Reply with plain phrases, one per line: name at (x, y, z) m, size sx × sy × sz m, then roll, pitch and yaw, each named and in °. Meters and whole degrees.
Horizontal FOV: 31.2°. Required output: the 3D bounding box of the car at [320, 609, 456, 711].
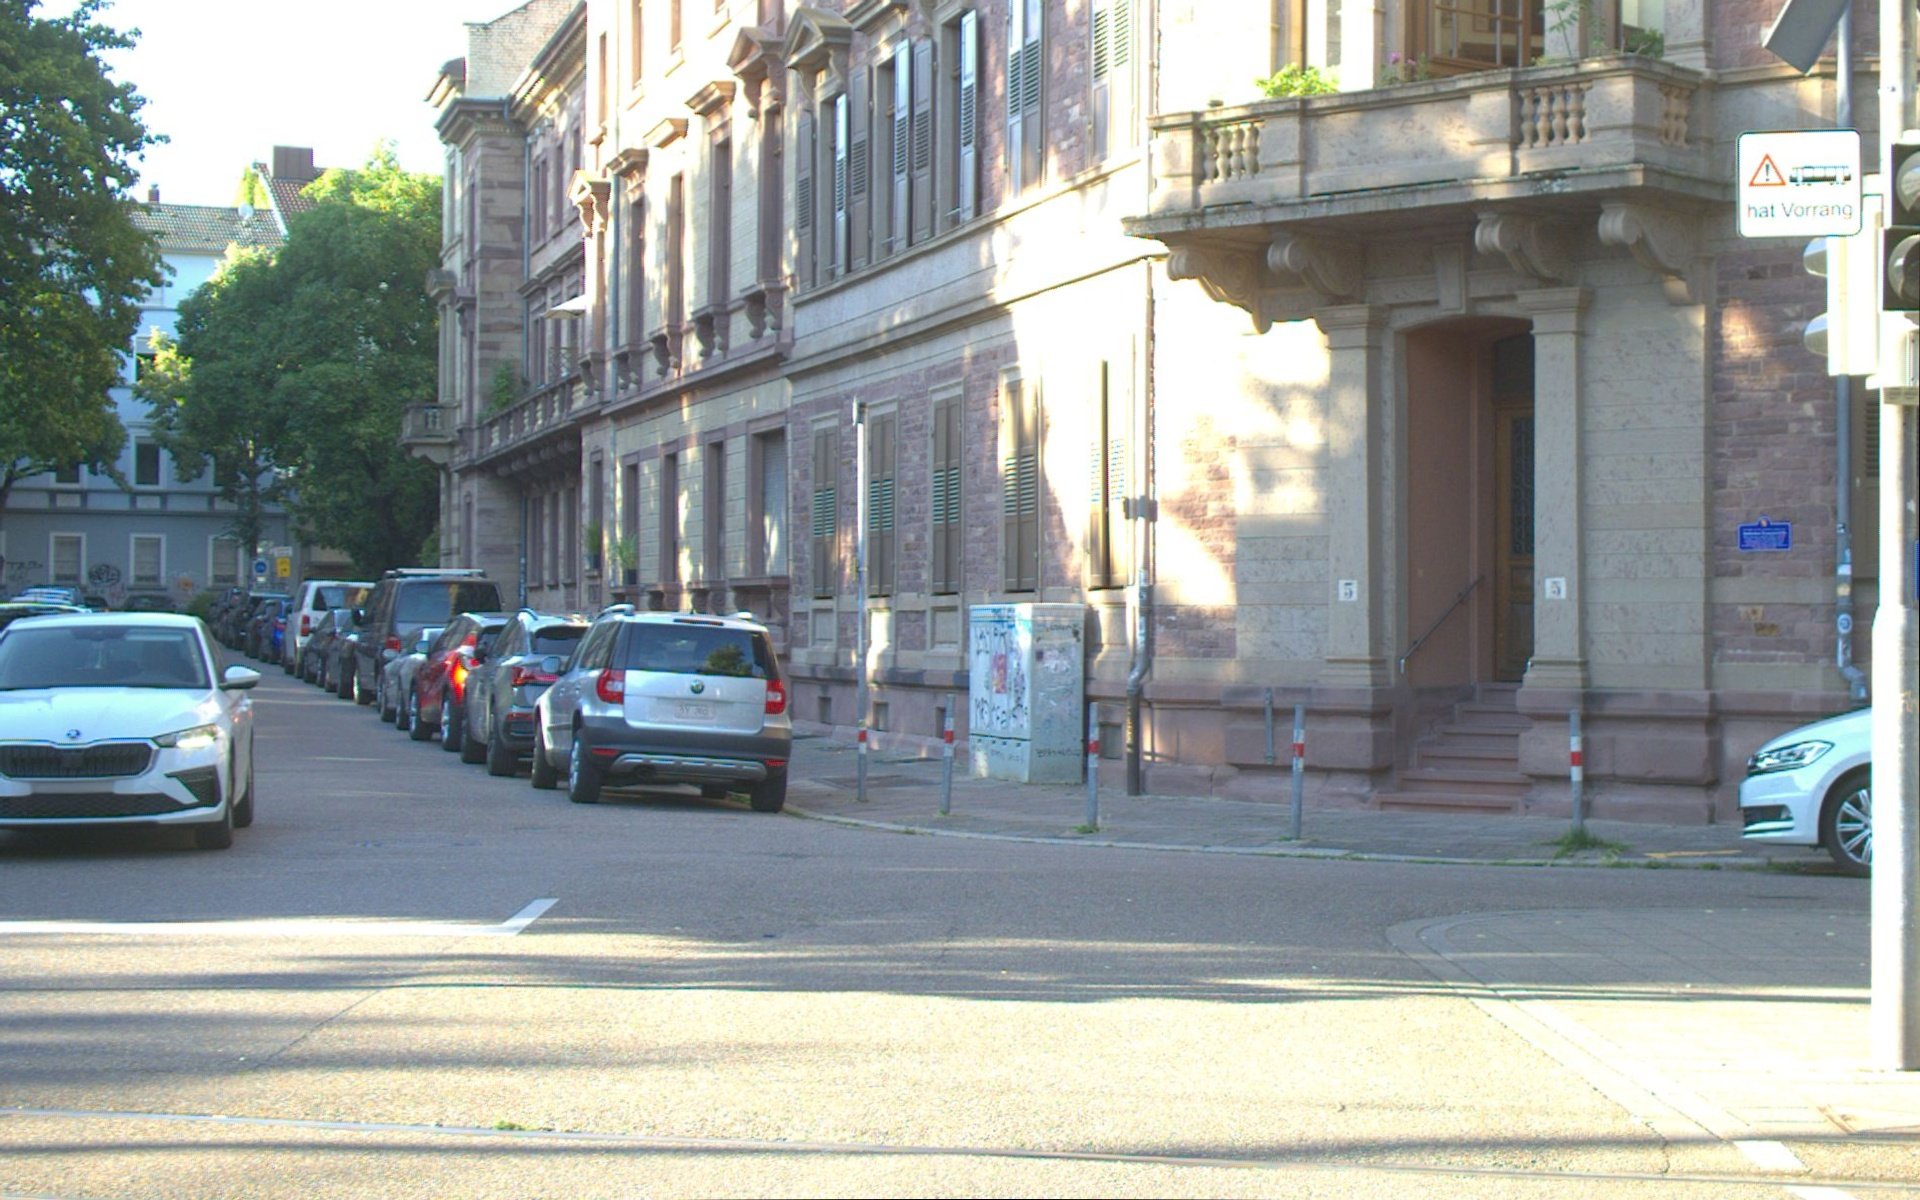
car at (-9.366, 0.957, 56.079) m, size 1.797 × 1.518 × 3.956 m, roll 3°, pitch -1°, yaw -14°

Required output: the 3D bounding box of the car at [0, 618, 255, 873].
car at (-5.472, 0.858, 21.952) m, size 1.701 × 1.452 × 4.063 m, roll 1°, pitch 0°, yaw -9°

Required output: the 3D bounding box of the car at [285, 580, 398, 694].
car at (-12.108, 0.705, 67.127) m, size 1.797 × 2.065 × 3.956 m, roll 3°, pitch -1°, yaw -14°

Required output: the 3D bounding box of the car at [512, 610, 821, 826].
car at (-2.641, 0.988, 30.039) m, size 1.915 × 1.651 × 4.188 m, roll 4°, pitch -2°, yaw -15°

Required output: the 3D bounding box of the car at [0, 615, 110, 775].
car at (-10.442, 0.993, 38.185) m, size 1.825 × 1.609 × 4.292 m, roll 4°, pitch -1°, yaw -14°

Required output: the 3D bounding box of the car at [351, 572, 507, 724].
car at (-7.878, 0.690, 50.748) m, size 1.797 × 2.065 × 3.956 m, roll 3°, pitch -1°, yaw -14°

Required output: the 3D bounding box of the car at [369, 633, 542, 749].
car at (-6.686, 1.166, 45.247) m, size 1.797 × 1.341 × 3.956 m, roll 3°, pitch -1°, yaw -14°

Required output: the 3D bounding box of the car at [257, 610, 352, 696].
car at (-14.955, 1.188, 78.287) m, size 1.797 × 1.832 × 3.956 m, roll 3°, pitch -1°, yaw -14°

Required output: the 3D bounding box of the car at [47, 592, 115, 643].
car at (-32.006, 0.656, 125.085) m, size 1.993 × 1.678 × 4.001 m, roll 2°, pitch -3°, yaw -20°

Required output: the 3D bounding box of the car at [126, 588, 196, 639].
car at (-29.403, 0.522, 126.431) m, size 1.993 × 1.678 × 4.001 m, roll 2°, pitch -3°, yaw -20°

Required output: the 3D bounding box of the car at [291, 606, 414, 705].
car at (-10.898, 0.966, 61.536) m, size 1.797 × 1.617 × 3.956 m, roll 3°, pitch -1°, yaw -14°

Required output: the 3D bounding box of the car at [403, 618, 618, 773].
car at (-5.278, 1.074, 39.967) m, size 1.797 × 1.608 × 3.956 m, roll 3°, pitch -1°, yaw -16°

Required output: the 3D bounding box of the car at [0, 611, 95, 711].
car at (-15.165, 0.963, 56.299) m, size 1.825 × 1.495 × 3.932 m, roll 4°, pitch -1°, yaw -14°

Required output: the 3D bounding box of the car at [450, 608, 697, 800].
car at (-3.997, 1.006, 34.882) m, size 1.825 × 1.718 × 4.544 m, roll 4°, pitch -1°, yaw -14°

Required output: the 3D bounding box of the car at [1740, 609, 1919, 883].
car at (7.181, 0.947, 21.442) m, size 4.485 × 1.644 × 1.873 m, roll 1°, pitch -3°, yaw 12°

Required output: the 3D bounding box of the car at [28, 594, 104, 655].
car at (-24.091, 0.656, 92.757) m, size 1.825 × 1.495 × 3.932 m, roll 4°, pitch -1°, yaw -14°

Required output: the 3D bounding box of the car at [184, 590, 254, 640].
car at (-27.447, 0.578, 127.222) m, size 1.993 × 1.678 × 4.001 m, roll 2°, pitch -3°, yaw -20°

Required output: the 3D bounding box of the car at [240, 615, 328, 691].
car at (-16.439, 1.270, 83.464) m, size 1.797 × 1.722 × 3.956 m, roll 3°, pitch -1°, yaw -14°
